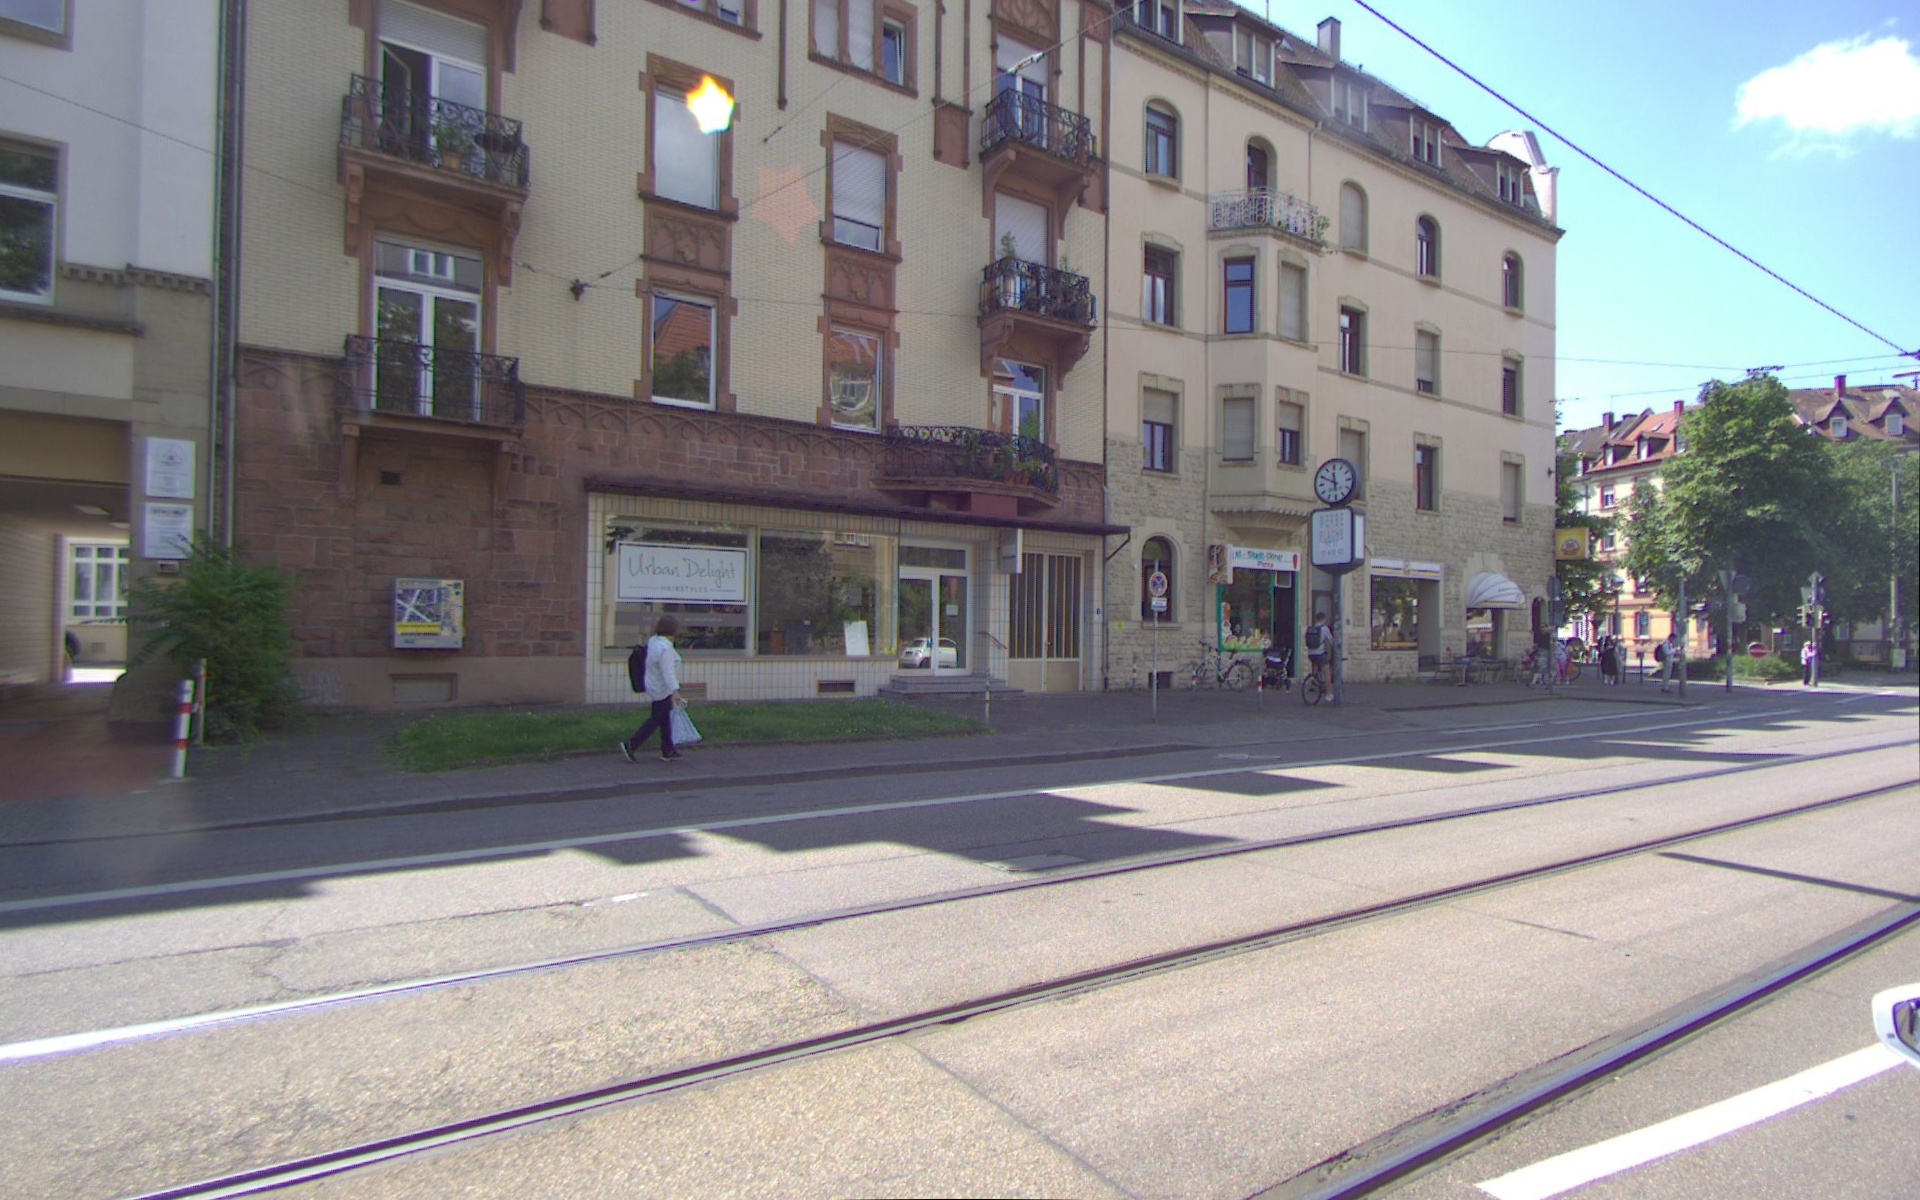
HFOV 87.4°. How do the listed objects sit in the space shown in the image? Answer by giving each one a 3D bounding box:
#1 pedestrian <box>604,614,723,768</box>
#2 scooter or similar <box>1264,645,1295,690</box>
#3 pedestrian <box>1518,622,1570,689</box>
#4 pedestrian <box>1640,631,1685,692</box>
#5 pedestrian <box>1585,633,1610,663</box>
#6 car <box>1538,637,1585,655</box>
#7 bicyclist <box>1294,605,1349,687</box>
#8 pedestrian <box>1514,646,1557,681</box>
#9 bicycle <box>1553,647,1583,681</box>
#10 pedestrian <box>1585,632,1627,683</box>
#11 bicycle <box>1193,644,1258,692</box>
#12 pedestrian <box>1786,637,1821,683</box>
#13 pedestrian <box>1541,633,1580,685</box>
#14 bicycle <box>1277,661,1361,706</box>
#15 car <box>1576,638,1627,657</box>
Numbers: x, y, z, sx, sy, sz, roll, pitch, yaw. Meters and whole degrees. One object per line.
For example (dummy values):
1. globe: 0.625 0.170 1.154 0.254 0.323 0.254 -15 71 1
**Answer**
1. pedestrian: -3.209 0.950 10.865 0.975 1.563 0.894 2 -2 -38
2. scooter or similar: 8.079 1.689 25.418 0.682 1.058 1.210 2 -1 16
3. pedestrian: 17.052 1.610 29.323 1.153 1.916 0.895 2 -1 -34
4. pedestrian: 20.993 1.828 30.028 0.767 1.755 0.855 2 0 -31
5. pedestrian: 41.801 3.152 65.862 1.004 1.893 0.997 1 -2 -25
6. car: 51.408 3.910 85.908 1.654 1.491 3.467 1 -2 -8
7. bicyclist: 7.700 0.978 21.375 0.824 1.685 0.750 2 -1 -39
8. pedestrian: 18.576 2.055 32.442 0.873 1.092 0.911 2 -2 -32
9. bicycle: 21.083 2.213 34.856 0.534 1.143 1.683 0 -3 20
10. pedestrian: 21.728 1.927 33.779 0.845 1.657 1.027 0 -2 10
11. bicycle: 6.356 1.633 24.032 1.439 1.080 0.370 3 -1 -10
12. pedestrian: 32.716 2.321 38.986 0.825 1.745 0.918 0 -2 26
13. pedestrian: 19.341 1.890 32.362 0.910 1.616 0.801 2 -2 -35
14. bicycle: 7.665 1.768 21.431 1.802 0.828 0.747 2 2 -35
15. car: 52.349 3.882 82.058 1.654 1.491 3.467 1 -2 -8
